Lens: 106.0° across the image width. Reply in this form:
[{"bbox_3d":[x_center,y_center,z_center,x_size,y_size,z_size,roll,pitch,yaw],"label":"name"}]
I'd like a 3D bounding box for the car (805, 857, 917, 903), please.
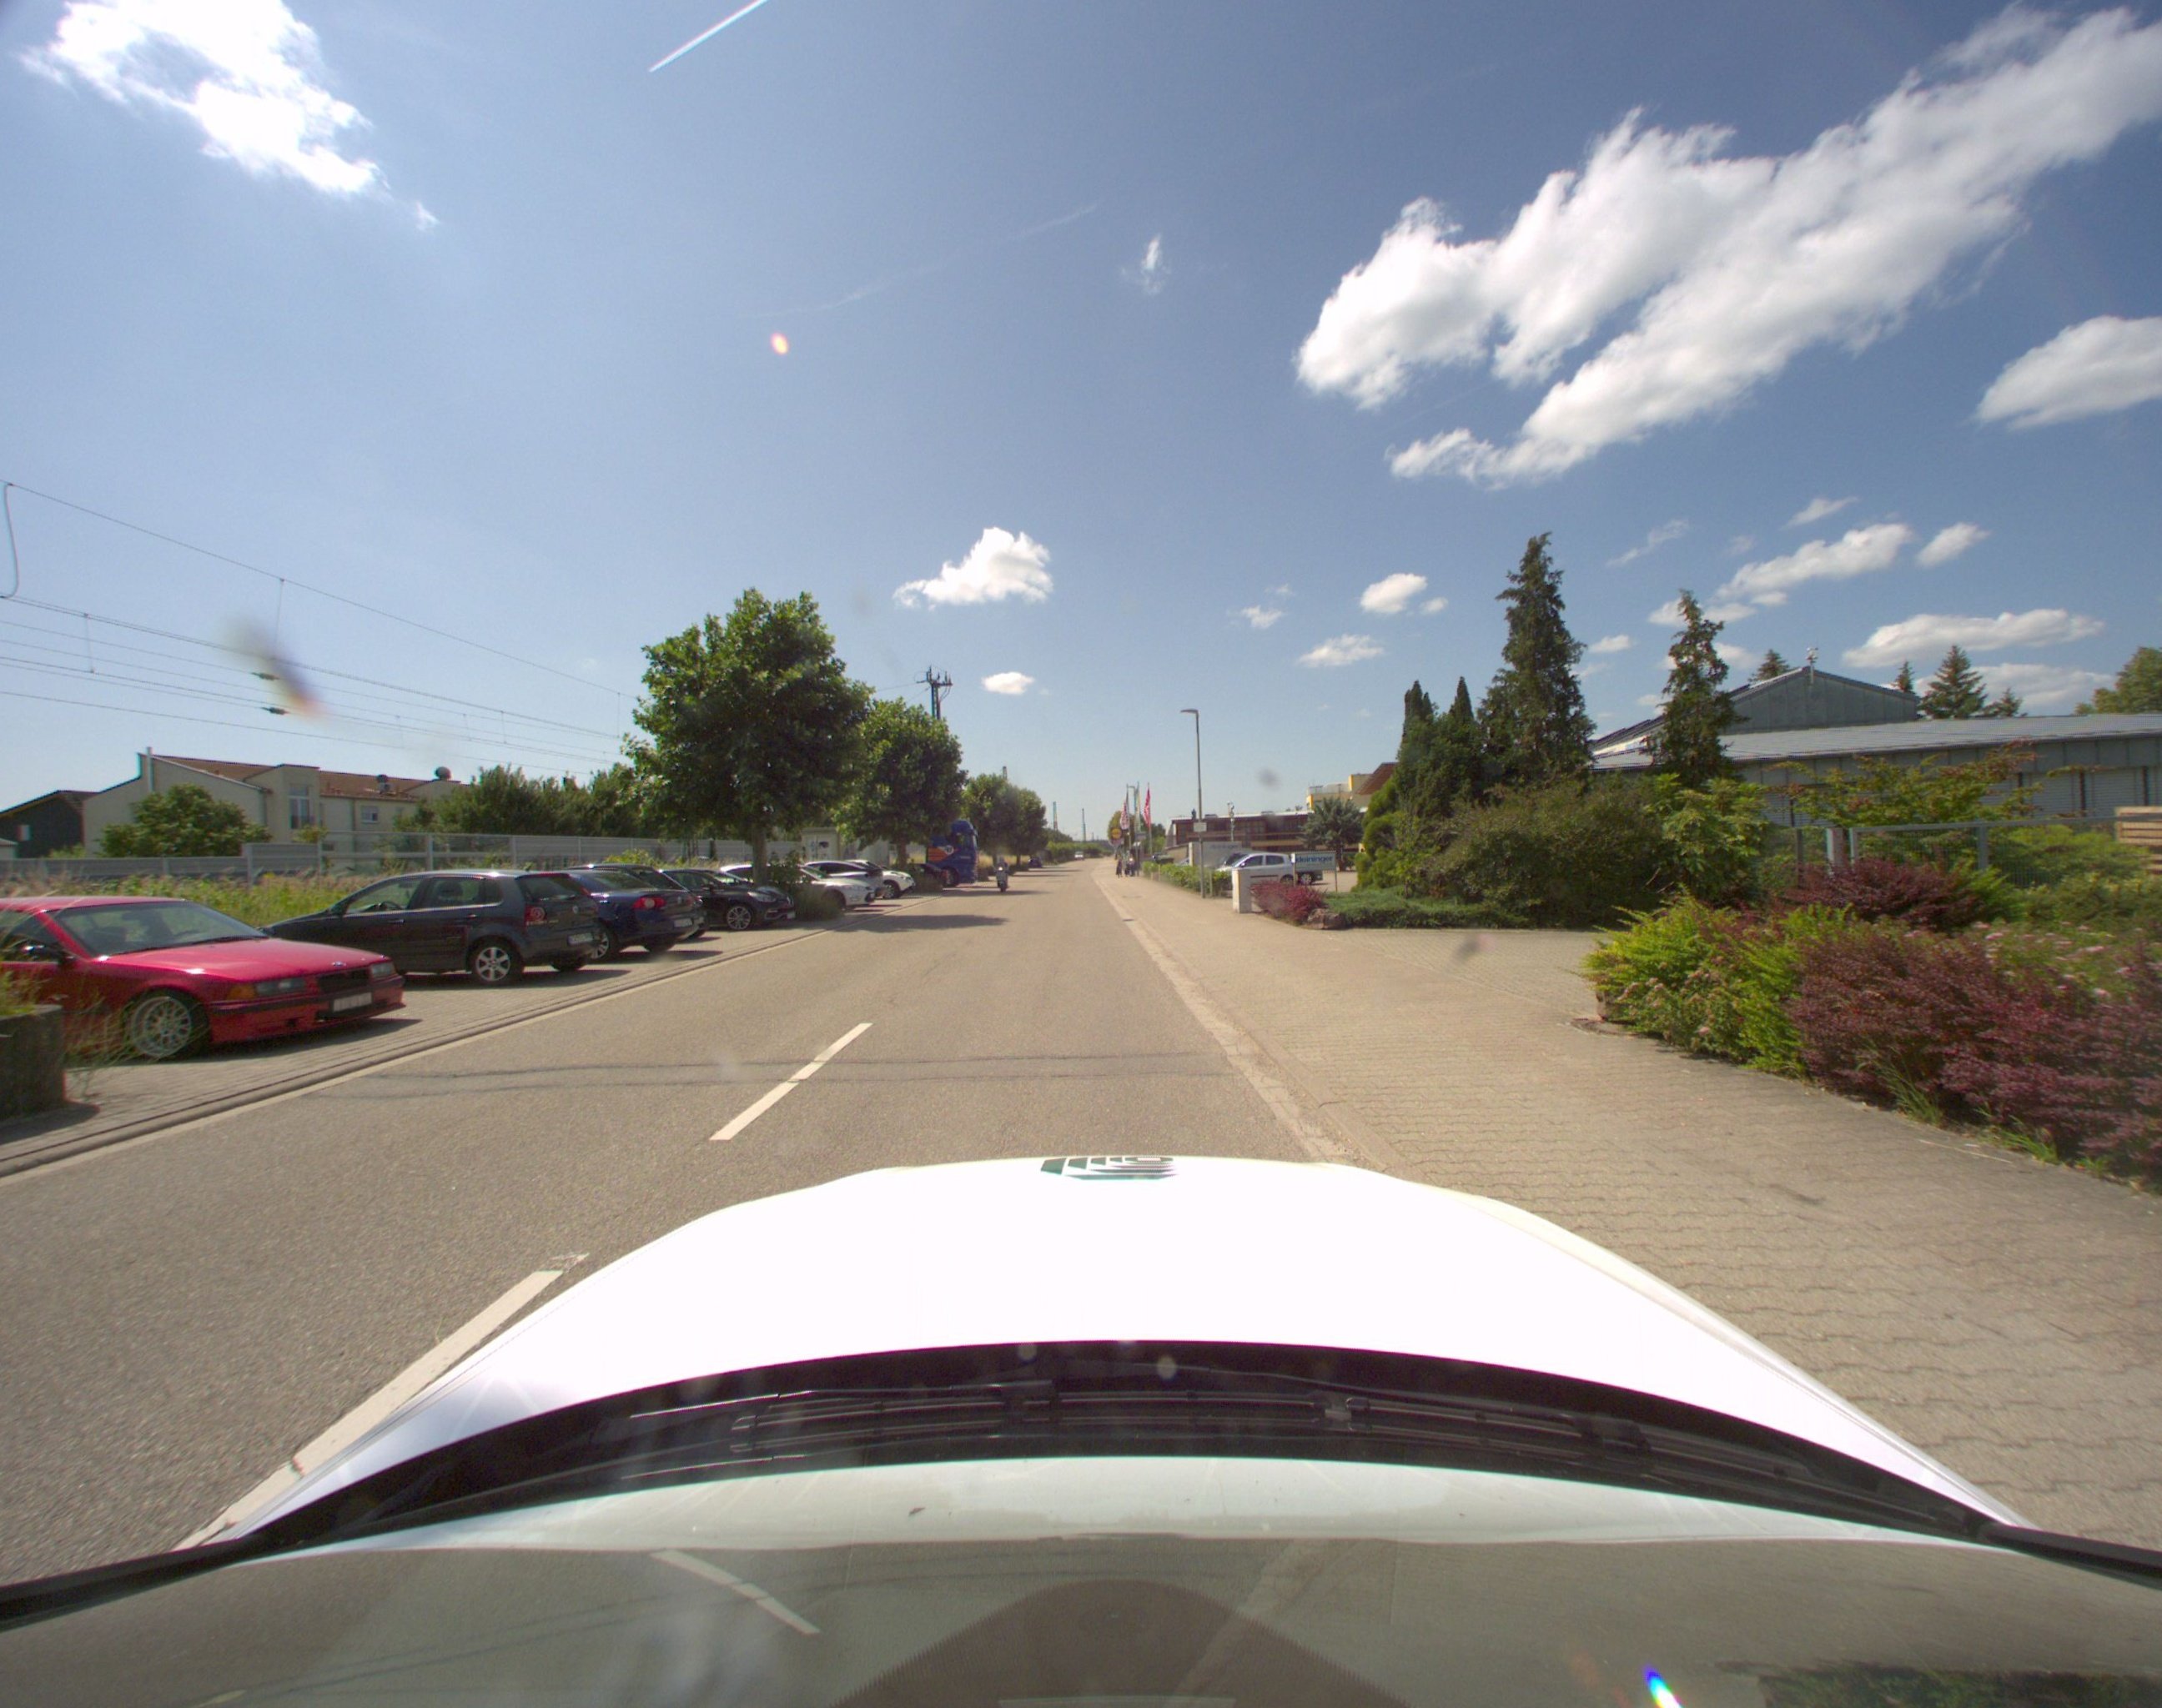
[{"bbox_3d":[-8.678,1.010,32.375,3.962,1.618,1.848,-2,0,-4],"label":"car"}]

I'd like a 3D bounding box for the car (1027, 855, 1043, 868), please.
[{"bbox_3d":[-5.874,0.953,103.778,1.736,1.596,3.579,-2,0,0],"label":"car"}]

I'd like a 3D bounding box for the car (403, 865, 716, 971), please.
[{"bbox_3d":[-8.338,0.993,13.242,3.927,1.450,1.789,-2,0,4],"label":"car"}]

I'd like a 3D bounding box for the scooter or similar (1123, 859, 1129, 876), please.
[{"bbox_3d":[3.210,0.939,58.289,0.332,1.198,0.397,-3,-2,0],"label":"scooter or similar"}]

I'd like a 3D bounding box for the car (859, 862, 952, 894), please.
[{"bbox_3d":[-8.684,1.169,40.560,4.198,1.395,1.870,-2,0,-2],"label":"car"}]

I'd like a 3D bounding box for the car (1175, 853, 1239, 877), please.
[{"bbox_3d":[8.137,0.705,52.863,3.832,1.455,1.817,-1,0,0],"label":"car"}]

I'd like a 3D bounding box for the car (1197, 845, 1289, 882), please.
[{"bbox_3d":[7.907,0.498,39.960,4.028,1.574,1.710,-3,-2,-6],"label":"car"}]

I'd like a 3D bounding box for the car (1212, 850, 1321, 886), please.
[{"bbox_3d":[8.260,0.629,36.485,4.465,1.440,1.813,-2,0,-4],"label":"car"}]

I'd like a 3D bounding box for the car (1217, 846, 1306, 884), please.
[{"bbox_3d":[7.480,0.461,34.061,3.339,1.401,1.771,-3,0,3],"label":"car"}]

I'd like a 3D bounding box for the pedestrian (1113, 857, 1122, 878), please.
[{"bbox_3d":[2.620,0.963,58.232,0.563,1.405,0.583,-3,-2,-1],"label":"pedestrian"}]

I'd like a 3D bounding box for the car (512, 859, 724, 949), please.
[{"bbox_3d":[-8.963,0.942,15.972,3.180,1.538,1.601,-2,-1,-2],"label":"car"}]

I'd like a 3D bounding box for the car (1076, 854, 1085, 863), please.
[{"bbox_3d":[-0.071,0.949,180.568,1.832,1.858,4.484,-2,0,1],"label":"car"}]

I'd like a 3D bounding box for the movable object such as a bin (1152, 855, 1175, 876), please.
[{"bbox_3d":[5.868,0.795,58.029,1.273,1.458,1.037,0,0,-38],"label":"movable object such as a bin"}]

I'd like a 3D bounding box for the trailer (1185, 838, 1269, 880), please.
[{"bbox_3d":[7.600,0.271,42.709,3.974,2.013,2.000,-2,0,0],"label":"trailer"}]

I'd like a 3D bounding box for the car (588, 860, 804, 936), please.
[{"bbox_3d":[-8.752,0.972,18.780,4.060,1.472,1.786,-2,0,0],"label":"car"}]

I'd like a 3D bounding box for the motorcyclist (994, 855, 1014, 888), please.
[{"bbox_3d":[-3.588,0.830,38.072,0.773,1.509,0.921,-2,-1,0],"label":"motorcyclist"}]

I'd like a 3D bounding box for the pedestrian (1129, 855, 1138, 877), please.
[{"bbox_3d":[3.725,0.862,58.133,0.533,1.540,0.510,-3,-2,-1],"label":"pedestrian"}]

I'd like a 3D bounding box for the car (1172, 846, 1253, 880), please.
[{"bbox_3d":[7.373,0.534,45.983,4.201,1.634,1.799,-3,-2,-2],"label":"car"}]

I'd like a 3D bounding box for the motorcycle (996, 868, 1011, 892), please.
[{"bbox_3d":[-3.586,1.208,37.936,0.461,1.051,1.955,-2,-1,1],"label":"motorcycle"}]

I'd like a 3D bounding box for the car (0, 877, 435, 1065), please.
[{"bbox_3d":[-8.537,0.979,7.310,4.060,1.368,1.674,-1,1,0],"label":"car"}]

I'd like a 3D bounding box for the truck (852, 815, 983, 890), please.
[{"bbox_3d":[-8.943,-0.086,45.144,6.597,3.823,2.662,-2,0,-2],"label":"truck"}]

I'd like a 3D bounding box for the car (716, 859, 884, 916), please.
[{"bbox_3d":[-8.352,0.977,24.529,4.325,1.533,1.925,-1,0,-1],"label":"car"}]

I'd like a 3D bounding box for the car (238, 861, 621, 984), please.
[{"bbox_3d":[-8.430,0.841,10.807,3.656,1.448,1.683,-1,0,-2],"label":"car"}]

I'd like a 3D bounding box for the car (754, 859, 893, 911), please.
[{"bbox_3d":[-8.494,1.005,27.199,3.977,1.548,1.998,-2,-1,-2],"label":"car"}]
